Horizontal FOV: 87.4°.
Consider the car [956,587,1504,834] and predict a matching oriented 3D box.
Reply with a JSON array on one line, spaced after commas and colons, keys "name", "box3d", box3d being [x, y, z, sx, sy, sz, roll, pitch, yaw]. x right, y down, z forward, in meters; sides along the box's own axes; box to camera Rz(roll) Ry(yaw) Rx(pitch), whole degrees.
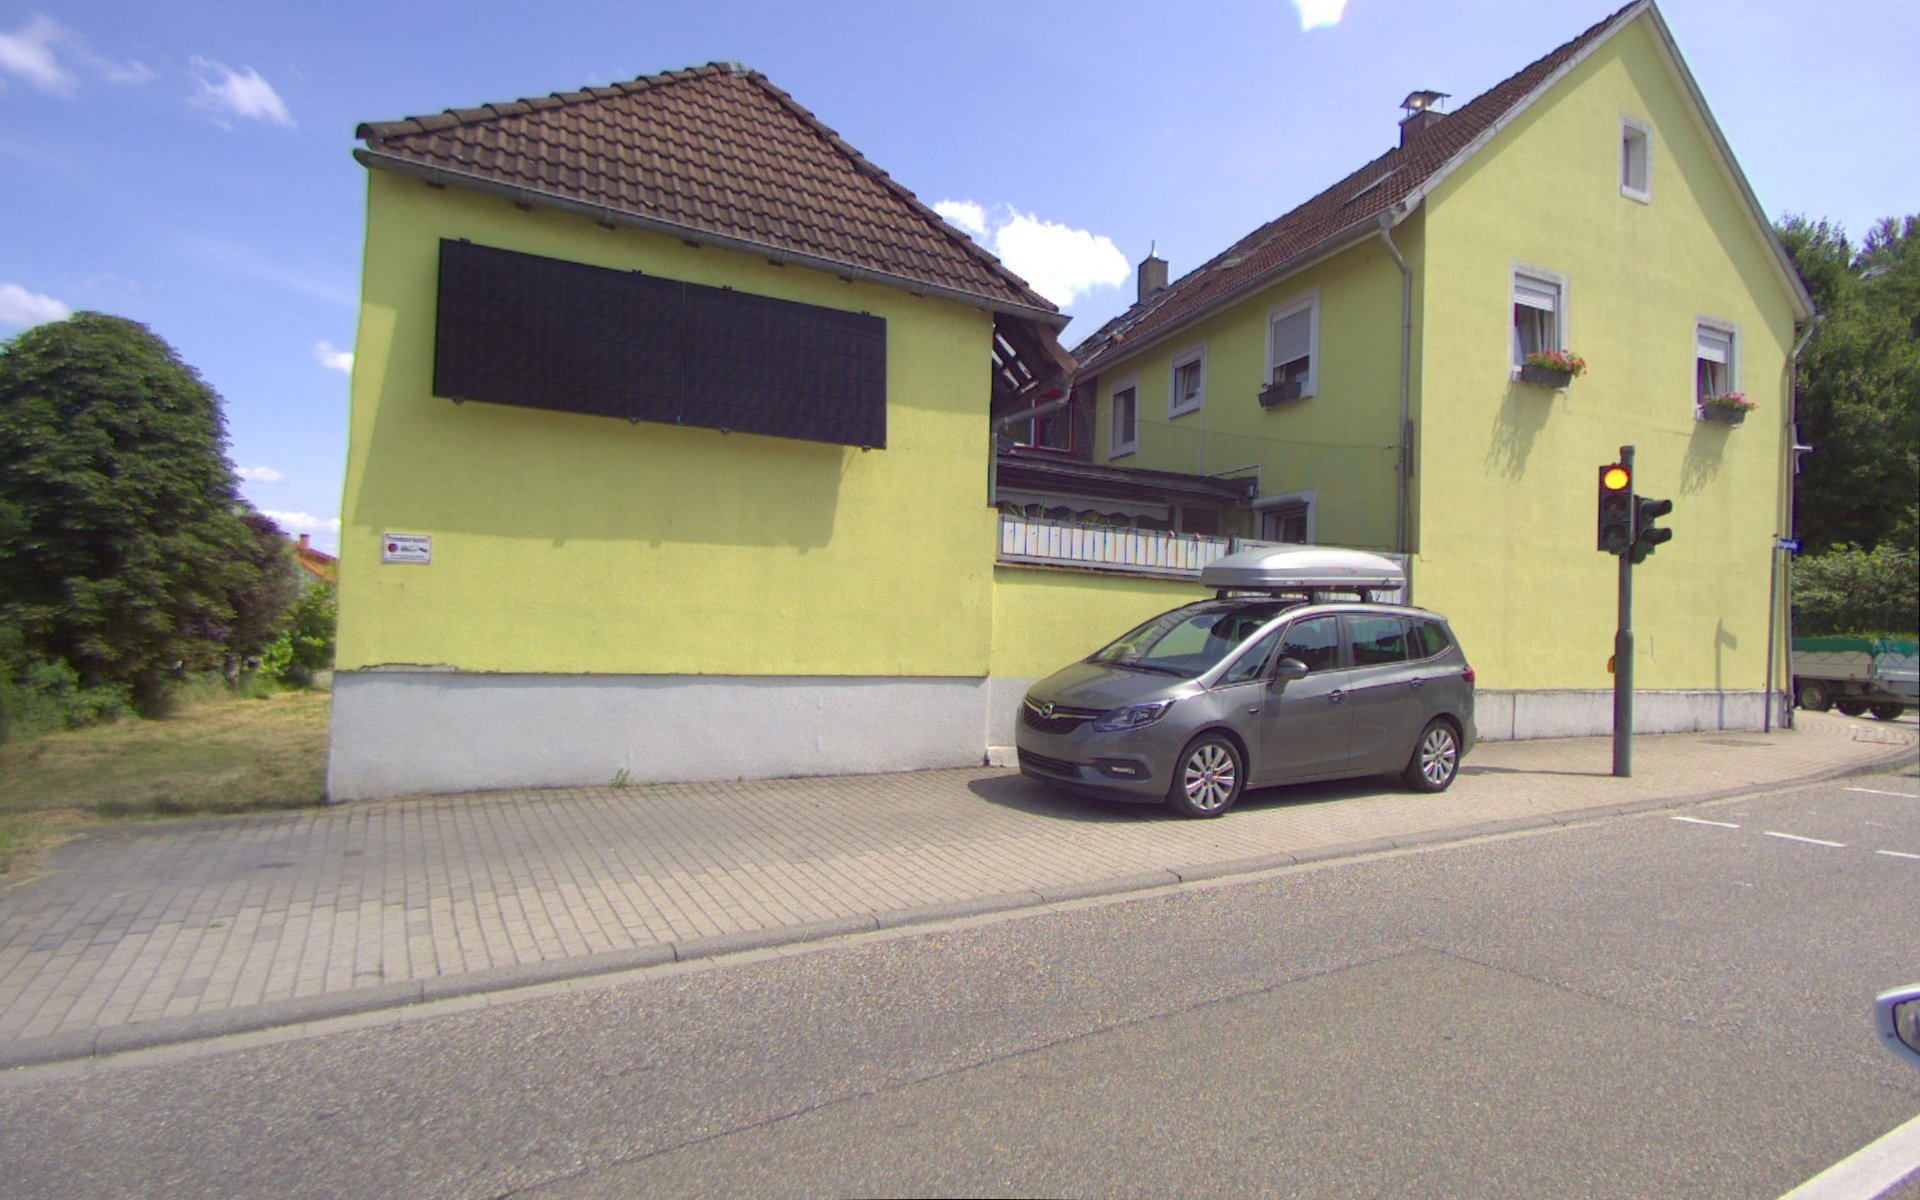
[{"name": "car", "box3d": [2.447, 0.798, 8.819, 4.575, 1.657, 1.984, 2, 1, -30]}]

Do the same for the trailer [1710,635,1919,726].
[{"name": "trailer", "box3d": [17.307, 1.471, 19.393, 1.943, 1.559, 4.439, 1, -2, -9]}]
